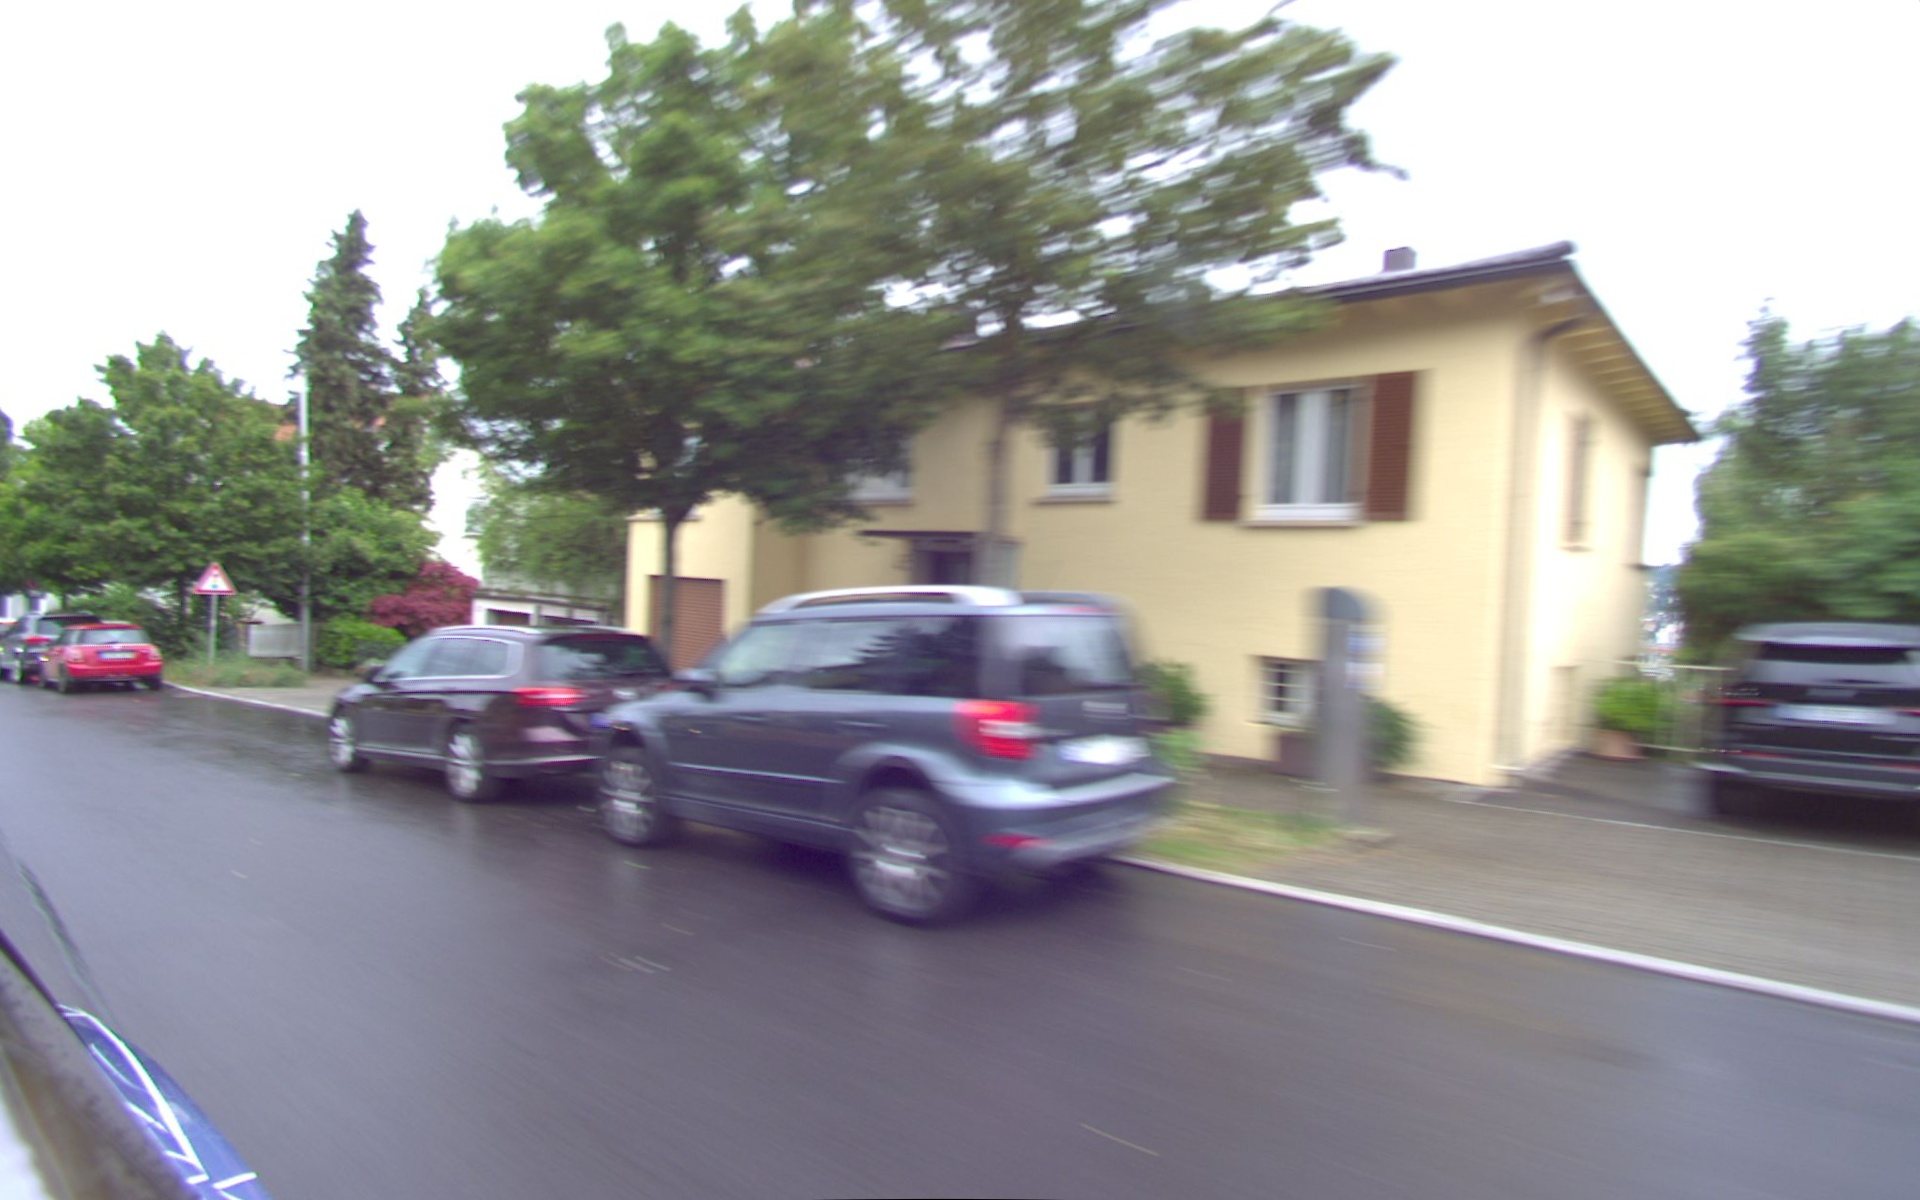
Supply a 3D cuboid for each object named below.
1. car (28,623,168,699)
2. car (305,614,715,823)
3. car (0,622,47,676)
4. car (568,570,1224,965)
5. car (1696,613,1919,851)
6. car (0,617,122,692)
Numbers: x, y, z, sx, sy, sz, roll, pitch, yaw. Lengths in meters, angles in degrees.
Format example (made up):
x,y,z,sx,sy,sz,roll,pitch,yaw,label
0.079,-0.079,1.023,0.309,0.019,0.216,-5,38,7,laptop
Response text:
x,y,z,sx,sy,sz,roll,pitch,yaw,label
-18.680,1.249,21.882,3.862,1.483,1.665,-1,-1,40,car
-4.469,0.955,9.681,4.602,1.547,1.750,-2,-3,40,car
-28.852,1.442,29.990,3.988,1.477,1.720,-1,1,33,car
-0.651,0.760,6.296,4.110,1.647,1.748,-2,-2,43,car
7.806,0.942,8.763,1.863,1.658,4.009,-1,-1,43,car
-22.360,1.261,24.868,4.419,1.681,1.784,-1,-1,38,car
